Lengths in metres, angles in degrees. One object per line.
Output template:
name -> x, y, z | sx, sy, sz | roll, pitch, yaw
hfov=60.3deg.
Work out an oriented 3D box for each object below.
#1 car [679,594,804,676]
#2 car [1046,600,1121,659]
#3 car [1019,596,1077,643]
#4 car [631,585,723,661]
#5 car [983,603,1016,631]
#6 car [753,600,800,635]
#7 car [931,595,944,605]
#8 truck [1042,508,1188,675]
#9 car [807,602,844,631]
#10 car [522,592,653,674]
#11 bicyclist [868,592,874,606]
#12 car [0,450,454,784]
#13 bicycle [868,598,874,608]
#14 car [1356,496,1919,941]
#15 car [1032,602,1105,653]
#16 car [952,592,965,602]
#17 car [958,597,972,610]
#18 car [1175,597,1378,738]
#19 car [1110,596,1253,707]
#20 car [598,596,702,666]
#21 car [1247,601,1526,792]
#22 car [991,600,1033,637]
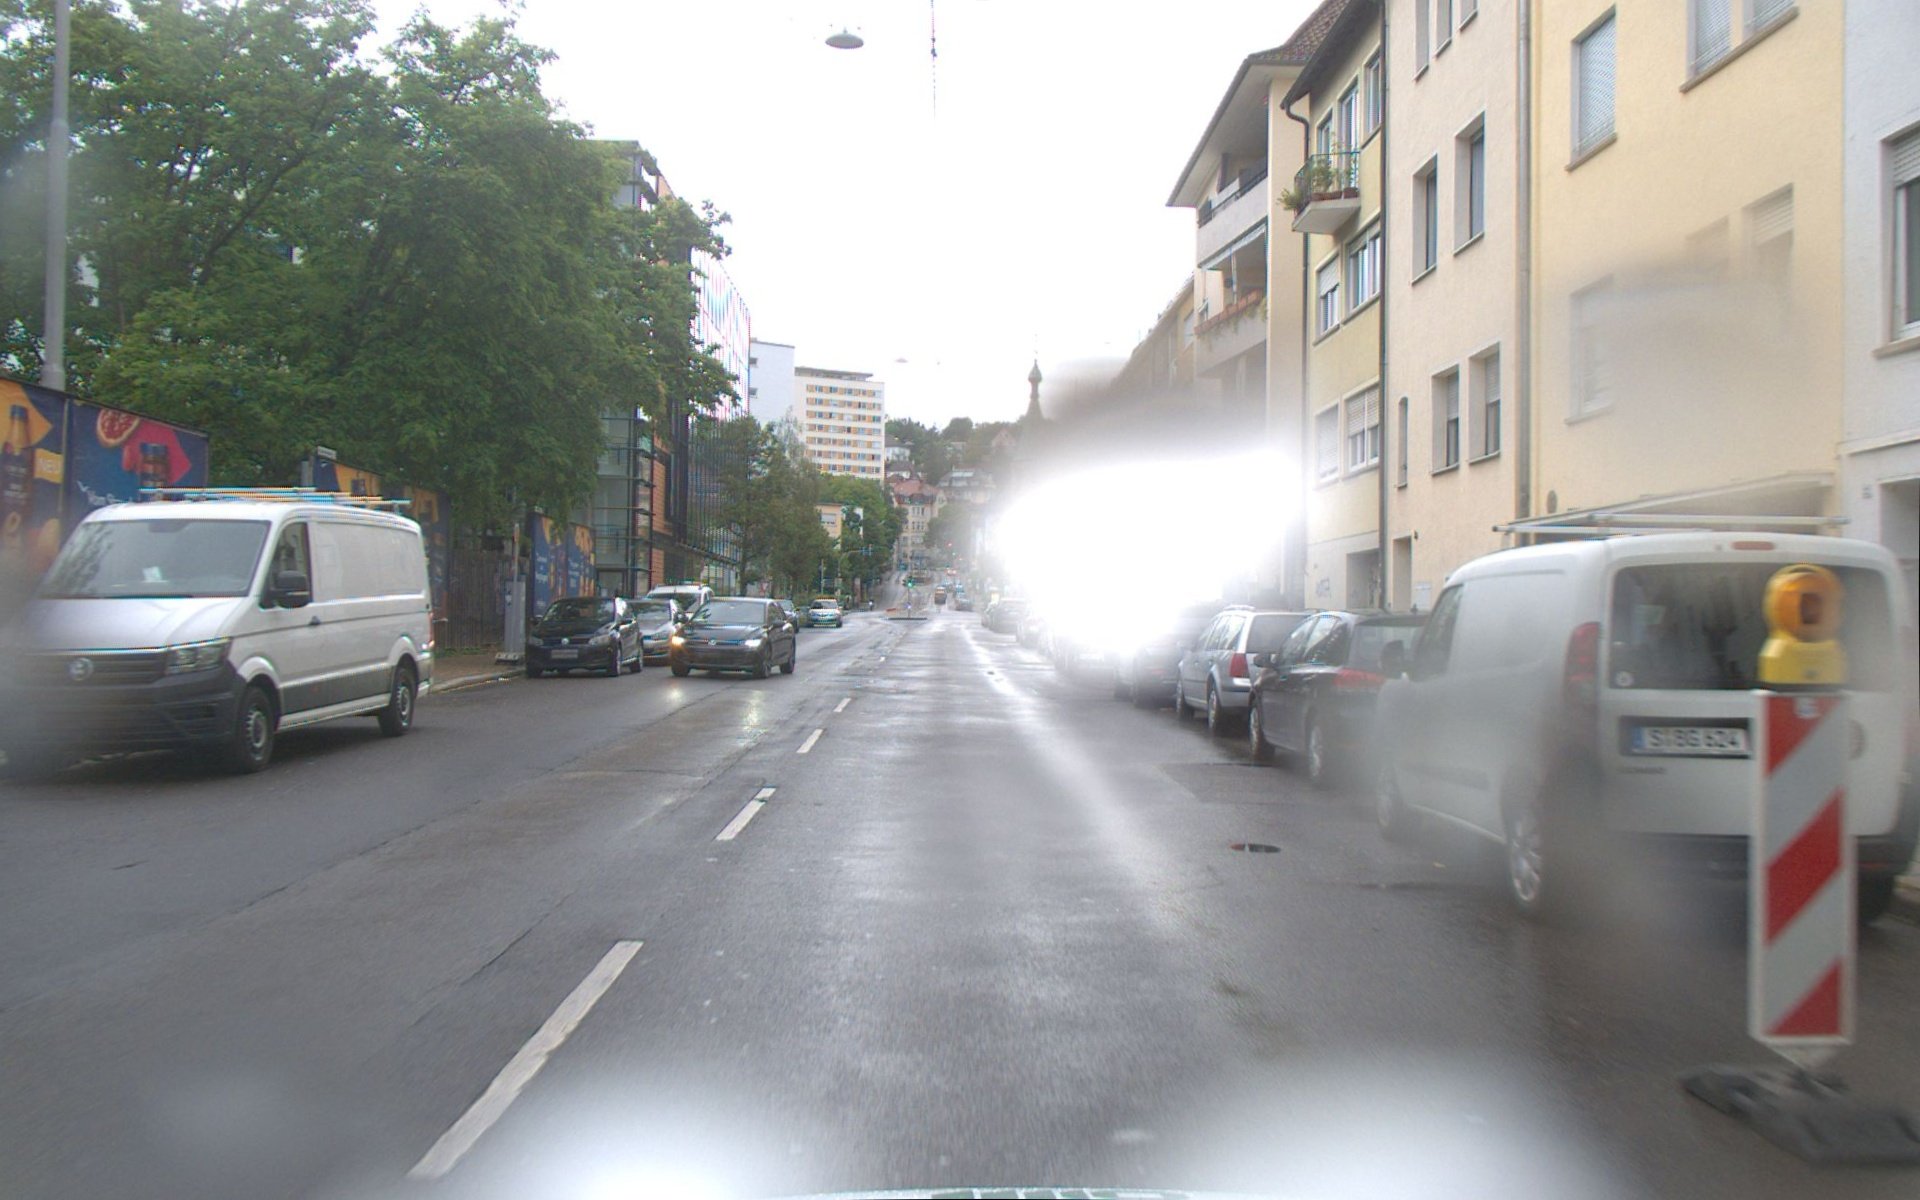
car -> -4.082, 0.624, 31.466 | 1.768, 1.440, 4.383 | 1, 0, 0
car -> 3.221, 0.747, 43.804 | 1.629, 1.446, 4.041 | 1, 0, -1
car -> 2.937, 0.648, 55.921 | 1.630, 1.528, 3.919 | 1, 0, -2
car -> -7.141, 0.566, 42.055 | 1.689, 1.832, 4.342 | 0, 0, -2
car -> 2.345, 0.976, 98.864 | 1.781, 1.549, 4.075 | 2, 0, -1
car -> -7.913, 0.752, 71.660 | 1.767, 1.476, 4.655 | 0, -1, -3
car -> -3.425, 0.034, 251.378 | 1.869, 1.537, 3.999 | 1, 0, -1
truck -> 3.203, -0.157, 35.836 | 2.419, 3.228, 7.035 | 1, 0, 0
car -> -7.029, 0.862, 86.768 | 1.675, 1.476, 4.292 | 0, -1, -2
car -> -6.863, 0.583, 30.802 | 1.648, 1.423, 3.909 | 0, 0, -2
bicyclist -> -11.025, -0.103, 205.045 | 0.663, 1.690, 0.649 | 1, -1, -4
car -> -6.671, 0.109, 15.565 | 1.970, 2.530, 5.983 | 0, 0, 0
bicycle -> -11.034, 0.381, 205.086 | 0.663, 1.127, 1.799 | 1, -1, -4
car -> 3.656, 0.521, 9.494 | 1.780, 1.958, 4.239 | 1, 0, 1
car -> 3.176, 0.825, 48.948 | 1.630, 1.446, 3.918 | 1, -1, -4
car -> -0.233, -0.447, 252.912 | 1.854, 1.536, 3.999 | 2, 0, -1
car -> 0.651, 0.478, 216.214 | 1.696, 1.682, 4.001 | 1, 0, 2
car -> 3.743, 0.741, 20.201 | 1.629, 1.526, 4.097 | 1, 0, -1
car -> 3.400, 0.743, 26.075 | 1.629, 1.601, 4.097 | 1, 0, -1
car -> -6.936, 0.677, 37.368 | 1.648, 1.488, 4.275 | 0, 0, -2
car -> 3.711, 0.771, 14.946 | 1.545, 1.496, 3.501 | 1, 0, -1
car -> 2.537, 0.876, 81.531 | 1.781, 1.681, 4.075 | 2, 0, -1
